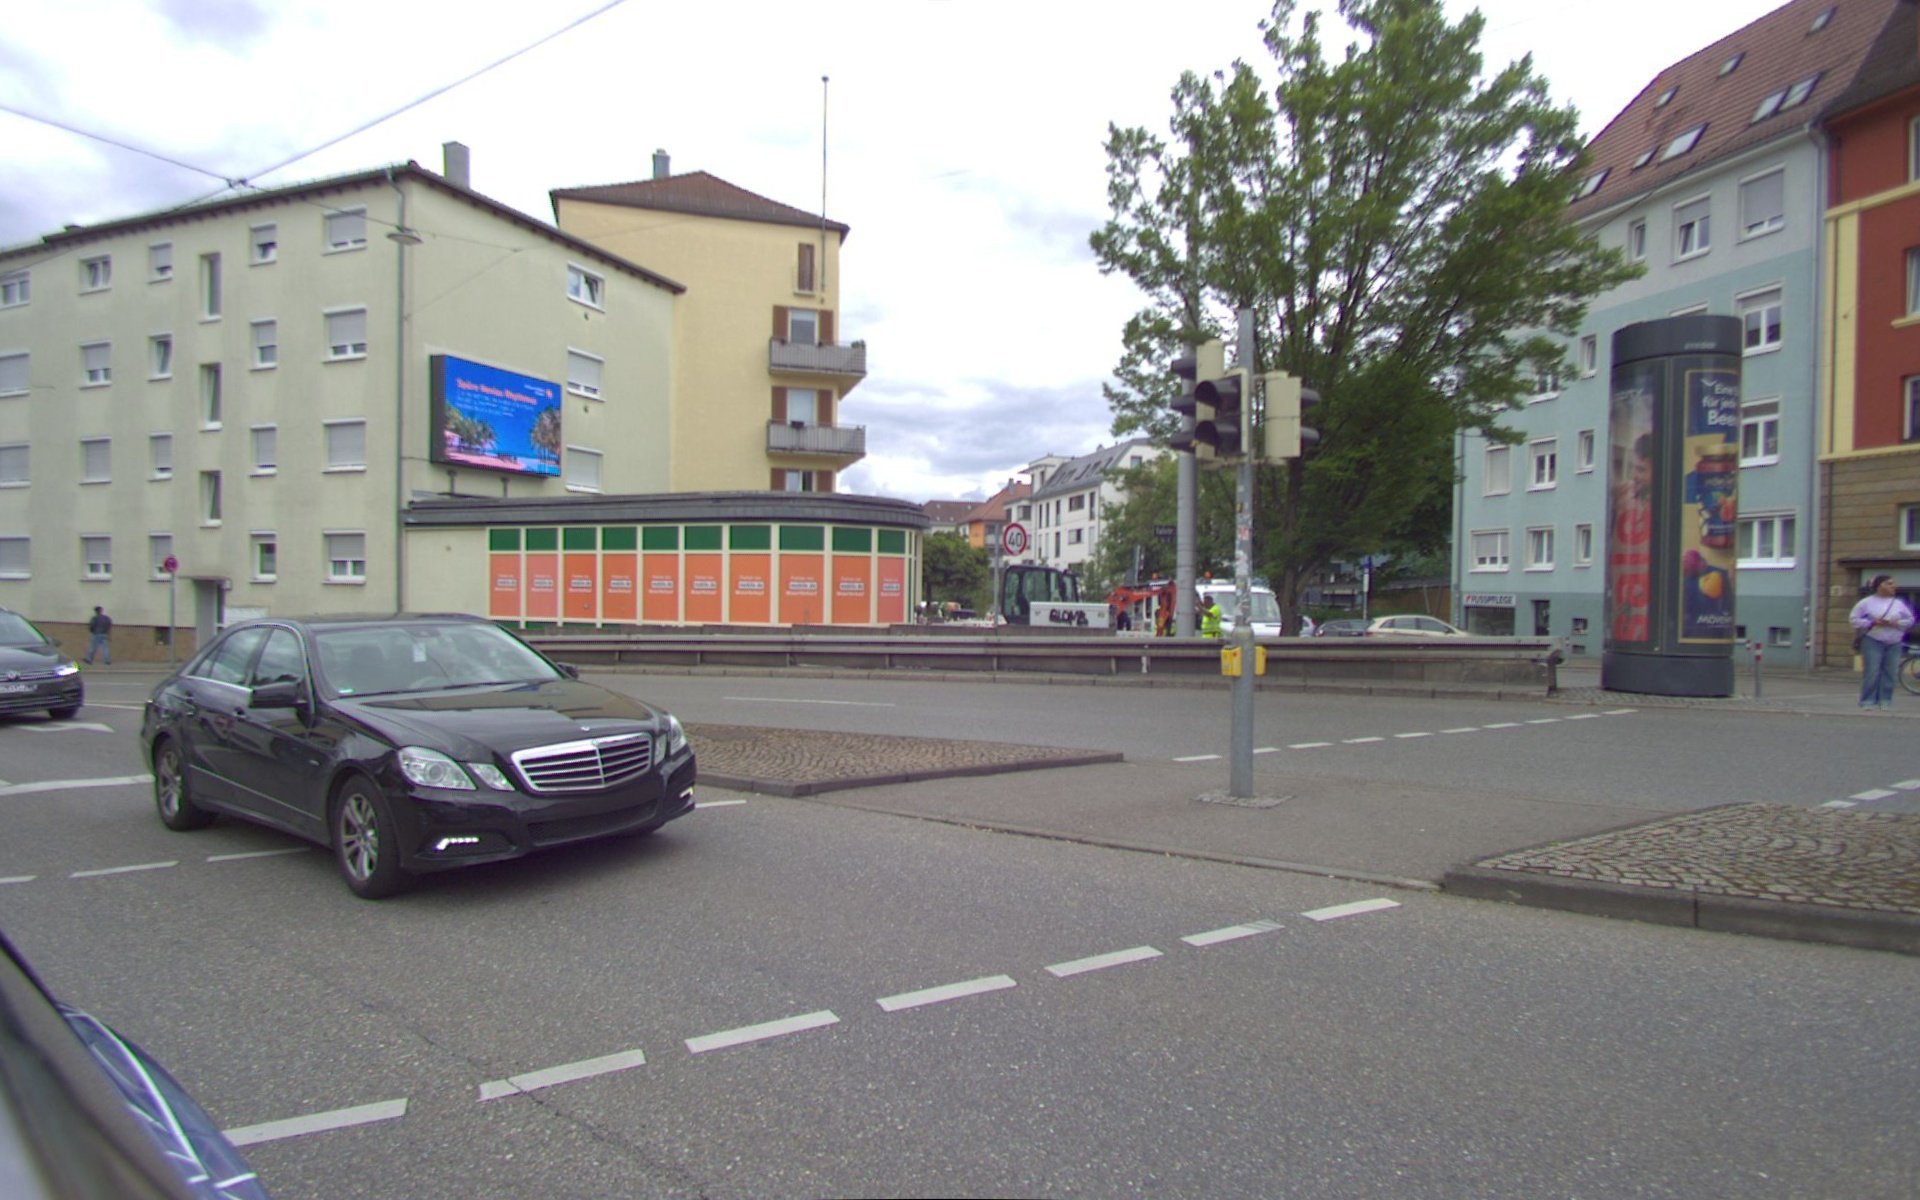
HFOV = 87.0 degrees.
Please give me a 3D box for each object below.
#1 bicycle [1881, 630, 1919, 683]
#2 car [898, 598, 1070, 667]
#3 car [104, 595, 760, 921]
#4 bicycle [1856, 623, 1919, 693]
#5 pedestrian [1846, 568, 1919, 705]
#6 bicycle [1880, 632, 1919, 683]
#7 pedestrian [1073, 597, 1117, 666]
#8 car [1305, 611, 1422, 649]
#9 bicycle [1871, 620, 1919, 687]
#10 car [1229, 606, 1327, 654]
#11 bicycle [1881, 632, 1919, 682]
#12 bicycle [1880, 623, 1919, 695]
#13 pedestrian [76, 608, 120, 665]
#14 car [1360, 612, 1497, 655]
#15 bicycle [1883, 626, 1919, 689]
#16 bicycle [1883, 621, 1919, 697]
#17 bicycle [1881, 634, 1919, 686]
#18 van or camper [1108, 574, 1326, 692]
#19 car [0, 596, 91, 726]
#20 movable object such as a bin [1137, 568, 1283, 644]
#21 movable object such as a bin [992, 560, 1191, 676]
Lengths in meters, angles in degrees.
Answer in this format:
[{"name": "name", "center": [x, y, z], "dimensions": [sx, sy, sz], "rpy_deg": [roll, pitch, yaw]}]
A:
[{"name": "bicycle", "center": [21.019, 1.190, 21.077], "dimensions": [2.660, 1.078, 0.626], "rpy_deg": [-1, 0, 40]}, {"name": "car", "center": [0.568, 0.787, 25.844], "dimensions": [3.932, 1.563, 2.006], "rpy_deg": [-1, 0, -15]}, {"name": "car", "center": [-3.717, 0.731, 6.720], "dimensions": [4.833, 1.439, 1.975], "rpy_deg": [-1, -1, 37]}, {"name": "bicycle", "center": [17.974, 1.027, 17.724], "dimensions": [3.356, 1.211, 0.894], "rpy_deg": [-1, 0, 40]}, {"name": "pedestrian", "center": [11.030, 0.412, 11.971], "dimensions": [0.783, 1.558, 0.739], "rpy_deg": [-1, 0, -44]}, {"name": "bicycle", "center": [21.432, 1.248, 21.570], "dimensions": [2.660, 1.078, 0.626], "rpy_deg": [-1, 0, 40]}, {"name": "pedestrian", "center": [2.764, 0.635, 20.699], "dimensions": [0.591, 1.374, 0.627], "rpy_deg": [-1, 0, -34]}, {"name": "car", "center": [15.666, 1.158, 39.513], "dimensions": [4.125, 1.380, 1.780], "rpy_deg": [-1, 0, 20]}, {"name": "bicycle", "center": [18.859, 0.993, 18.395], "dimensions": [3.356, 1.211, 0.894], "rpy_deg": [-1, 0, 40]}, {"name": "car", "center": [14.073, 1.307, 44.964], "dimensions": [3.961, 2.029, 1.991], "rpy_deg": [-1, 0, 14]}, {"name": "bicycle", "center": [21.875, 1.264, 22.039], "dimensions": [2.660, 1.078, 0.626], "rpy_deg": [-1, 0, 40]}, {"name": "bicycle", "center": [17.557, 0.999, 16.770], "dimensions": [3.356, 1.211, 0.808], "rpy_deg": [-1, 0, 40]}, {"name": "pedestrian", "center": [-25.072, 1.053, 29.448], "dimensions": [0.774, 1.649, 0.685], "rpy_deg": [-1, 0, 22]}, {"name": "car", "center": [16.170, 1.156, 35.143], "dimensions": [4.125, 1.380, 1.780], "rpy_deg": [-1, 0, 20]}, {"name": "bicycle", "center": [20.047, 1.144, 19.845], "dimensions": [2.832, 1.211, 0.808], "rpy_deg": [-1, 0, 40]}, {"name": "bicycle", "center": [16.790, 0.946, 15.867], "dimensions": [3.356, 1.211, 0.808], "rpy_deg": [-1, 0, 40]}, {"name": "bicycle", "center": [20.592, 1.228, 20.481], "dimensions": [2.832, 1.028, 0.808], "rpy_deg": [-1, 0, 40]}, {"name": "van or camper", "center": [5.734, 0.658, 23.730], "dimensions": [2.645, 2.356, 6.019], "rpy_deg": [-1, 0, -10]}, {"name": "car", "center": [-14.065, 0.798, 14.123], "dimensions": [4.468, 1.623, 1.842], "rpy_deg": [0, 2, 35]}, {"name": "movable object such as a bin", "center": [7.799, 0.143, 31.014], "dimensions": [2.390, 2.087, 6.181], "rpy_deg": [-1, 0, 34]}, {"name": "movable object such as a bin", "center": [2.454, 0.348, 18.765], "dimensions": [3.501, 2.029, 1.374], "rpy_deg": [-1, -1, 13]}]
